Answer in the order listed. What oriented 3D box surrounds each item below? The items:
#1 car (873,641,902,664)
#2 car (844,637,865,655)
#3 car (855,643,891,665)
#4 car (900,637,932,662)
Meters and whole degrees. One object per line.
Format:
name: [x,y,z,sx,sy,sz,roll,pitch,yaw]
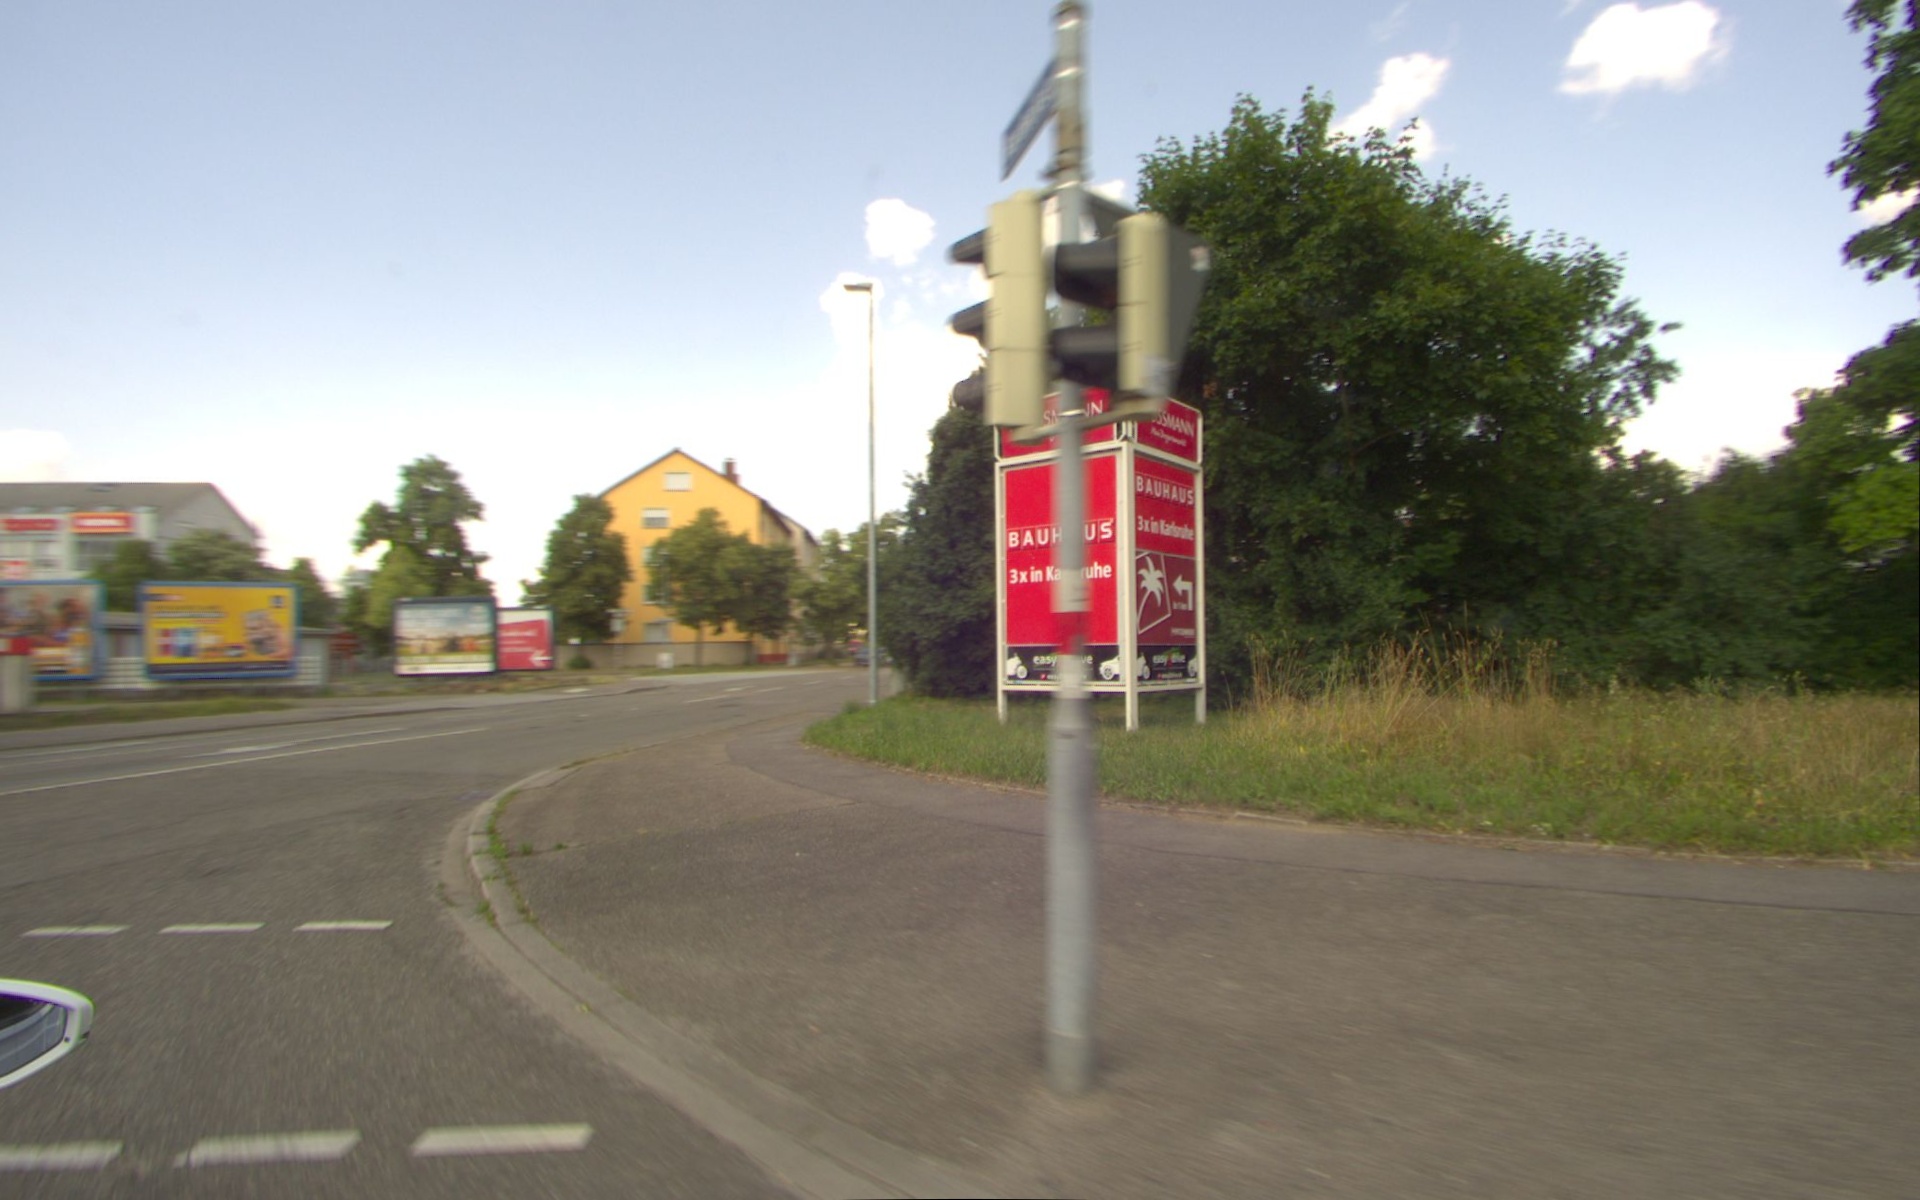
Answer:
car: [-5.696,4.121,79.068,1.493,1.569,3.756,4,-1,7]
car: [-16.135,6.978,152.544,2.035,2.531,5.833,4,-3,-17]
car: [-6.309,3.933,72.856,1.657,1.504,3.986,2,-3,9]
car: [-3.748,4.254,86.805,1.849,2.035,5.324,3,-1,6]
